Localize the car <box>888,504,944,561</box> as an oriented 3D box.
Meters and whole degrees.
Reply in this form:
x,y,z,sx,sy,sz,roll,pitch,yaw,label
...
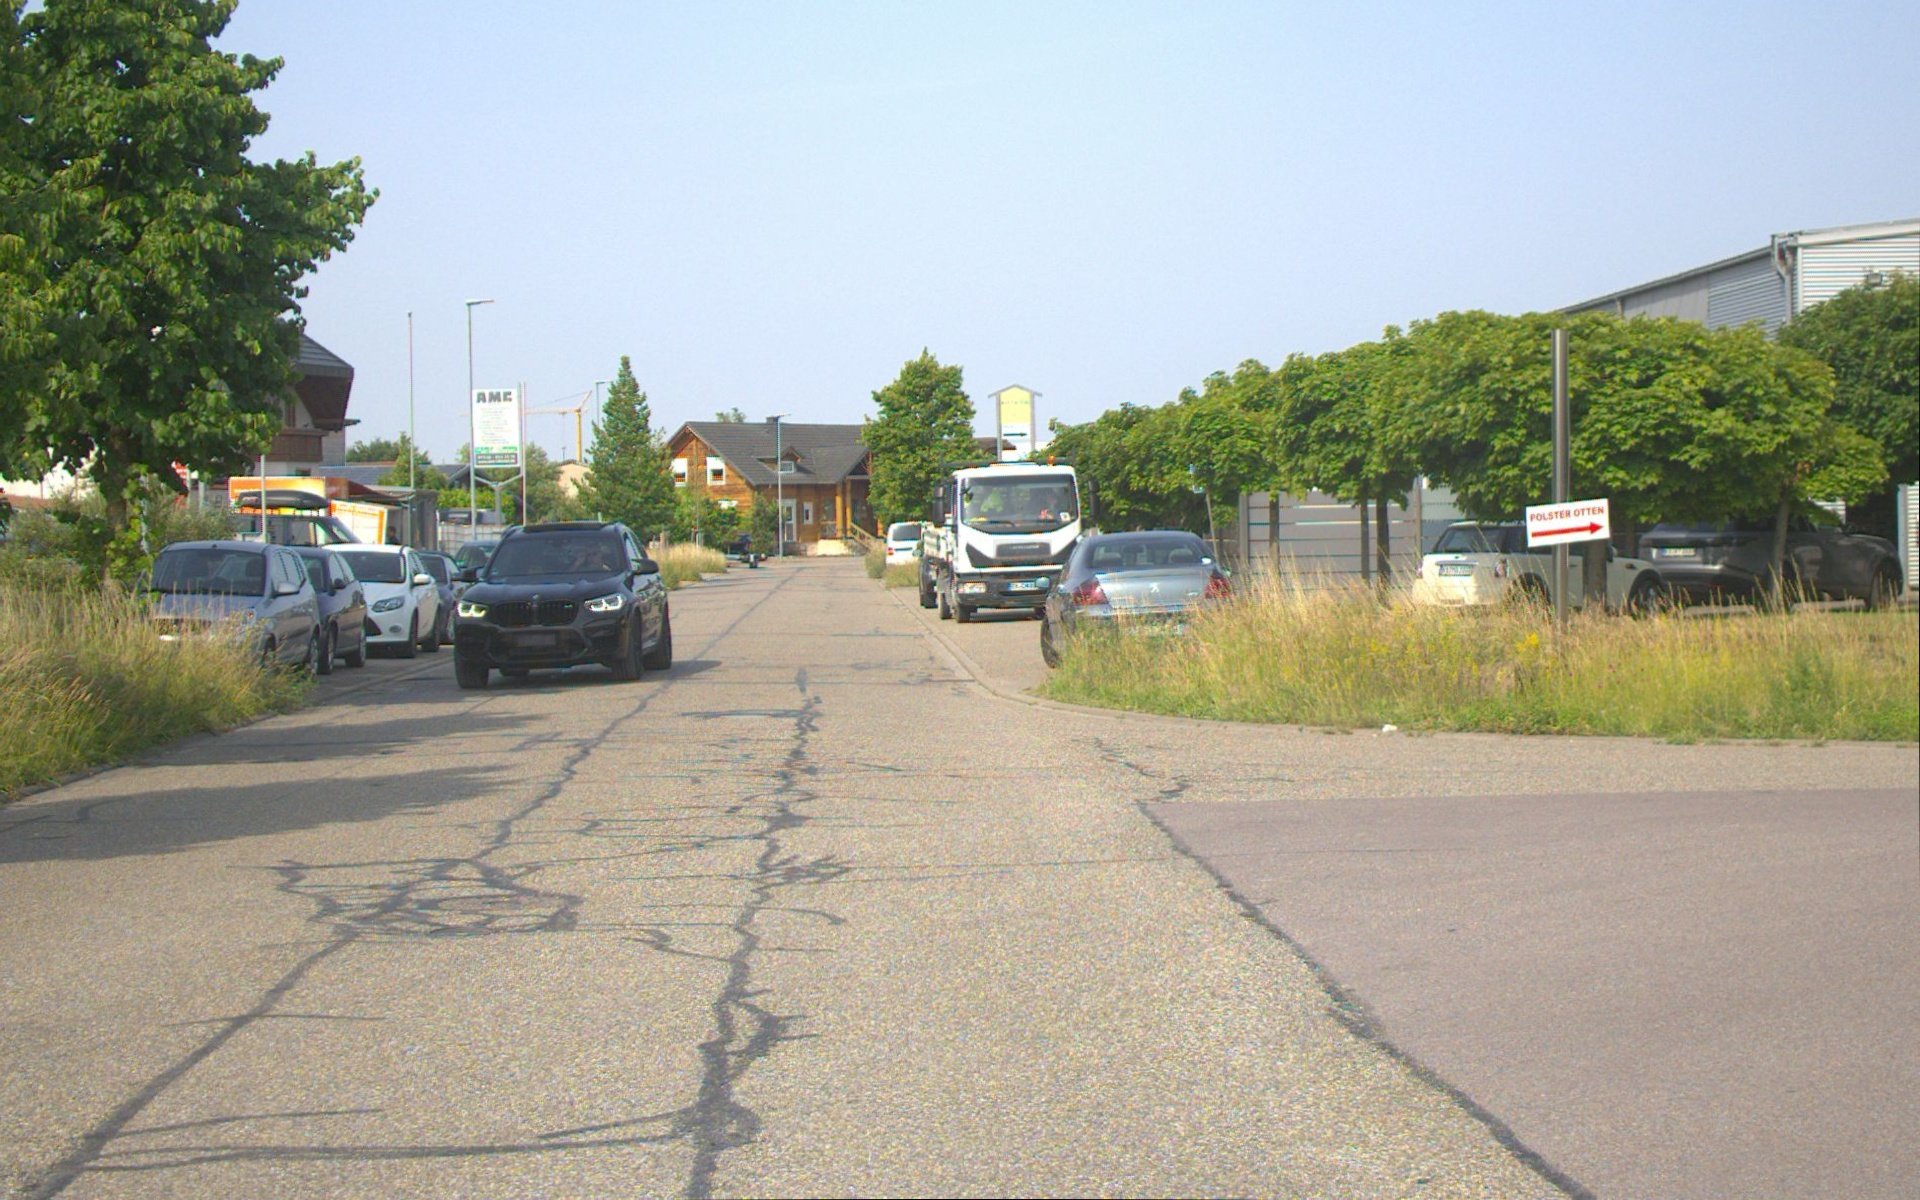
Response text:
x,y,z,sx,sy,sz,roll,pitch,yaw,label
-1.575,-2.374,121.188,1.837,1.917,3.756,-2,1,-2,car

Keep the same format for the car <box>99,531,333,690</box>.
x,y,z,sx,sy,sz,roll,pitch,yaw,label
-7.634,0.067,35.555,1.566,1.533,3.688,1,1,1,car

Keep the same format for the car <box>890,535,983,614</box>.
x,y,z,sx,sy,sz,roll,pitch,yaw,label
-0.512,-0.556,71.023,1.794,1.555,4.001,-1,1,-2,car

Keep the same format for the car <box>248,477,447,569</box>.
x,y,z,sx,sy,sz,roll,pitch,yaw,label
-18.210,-2.288,102.254,5.161,2.577,2.574,-1,1,19,car

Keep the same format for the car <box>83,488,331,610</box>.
x,y,z,sx,sy,sz,roll,pitch,yaw,label
-15.458,-1.048,70.749,4.626,2.408,2.000,-1,1,0,car

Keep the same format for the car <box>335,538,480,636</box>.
x,y,z,sx,sy,sz,roll,pitch,yaw,label
-8.247,-0.220,51.611,1.633,1.382,4.370,1,1,-2,car

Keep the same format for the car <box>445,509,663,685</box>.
x,y,z,sx,sy,sz,roll,pitch,yaw,label
-4.285,-0.075,36.845,1.856,1.709,4.227,-2,1,-1,car

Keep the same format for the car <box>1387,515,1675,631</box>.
x,y,z,sx,sy,sz,roll,pitch,yaw,label
7.360,-0.364,44.176,3.687,1.375,1.687,-2,2,-41,car

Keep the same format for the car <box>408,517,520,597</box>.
x,y,z,sx,sy,sz,roll,pitch,yaw,label
-9.711,-0.848,67.479,1.633,1.512,3.605,1,1,1,car

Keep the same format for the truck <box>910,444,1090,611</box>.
x,y,z,sx,sy,sz,roll,pitch,yaw,label
0.600,-1.245,58.957,2.359,2.672,6.512,-1,1,-6,truck

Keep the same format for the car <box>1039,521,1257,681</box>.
x,y,z,sx,sy,sz,roll,pitch,yaw,label
1.866,-0.033,35.354,1.794,1.512,4.425,-1,1,-2,car

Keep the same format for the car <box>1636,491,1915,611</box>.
x,y,z,sx,sy,sz,roll,pitch,yaw,label
11.320,-0.703,47.514,1.686,1.583,4.522,0,2,44,car

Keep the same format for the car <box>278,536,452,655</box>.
x,y,z,sx,sy,sz,roll,pitch,yaw,label
-7.783,-0.095,45.300,1.683,1.464,4.254,1,1,-2,car

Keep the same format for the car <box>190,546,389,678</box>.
x,y,z,sx,sy,sz,roll,pitch,yaw,label
-7.790,0.105,40.249,1.578,1.438,3.963,1,1,0,car
